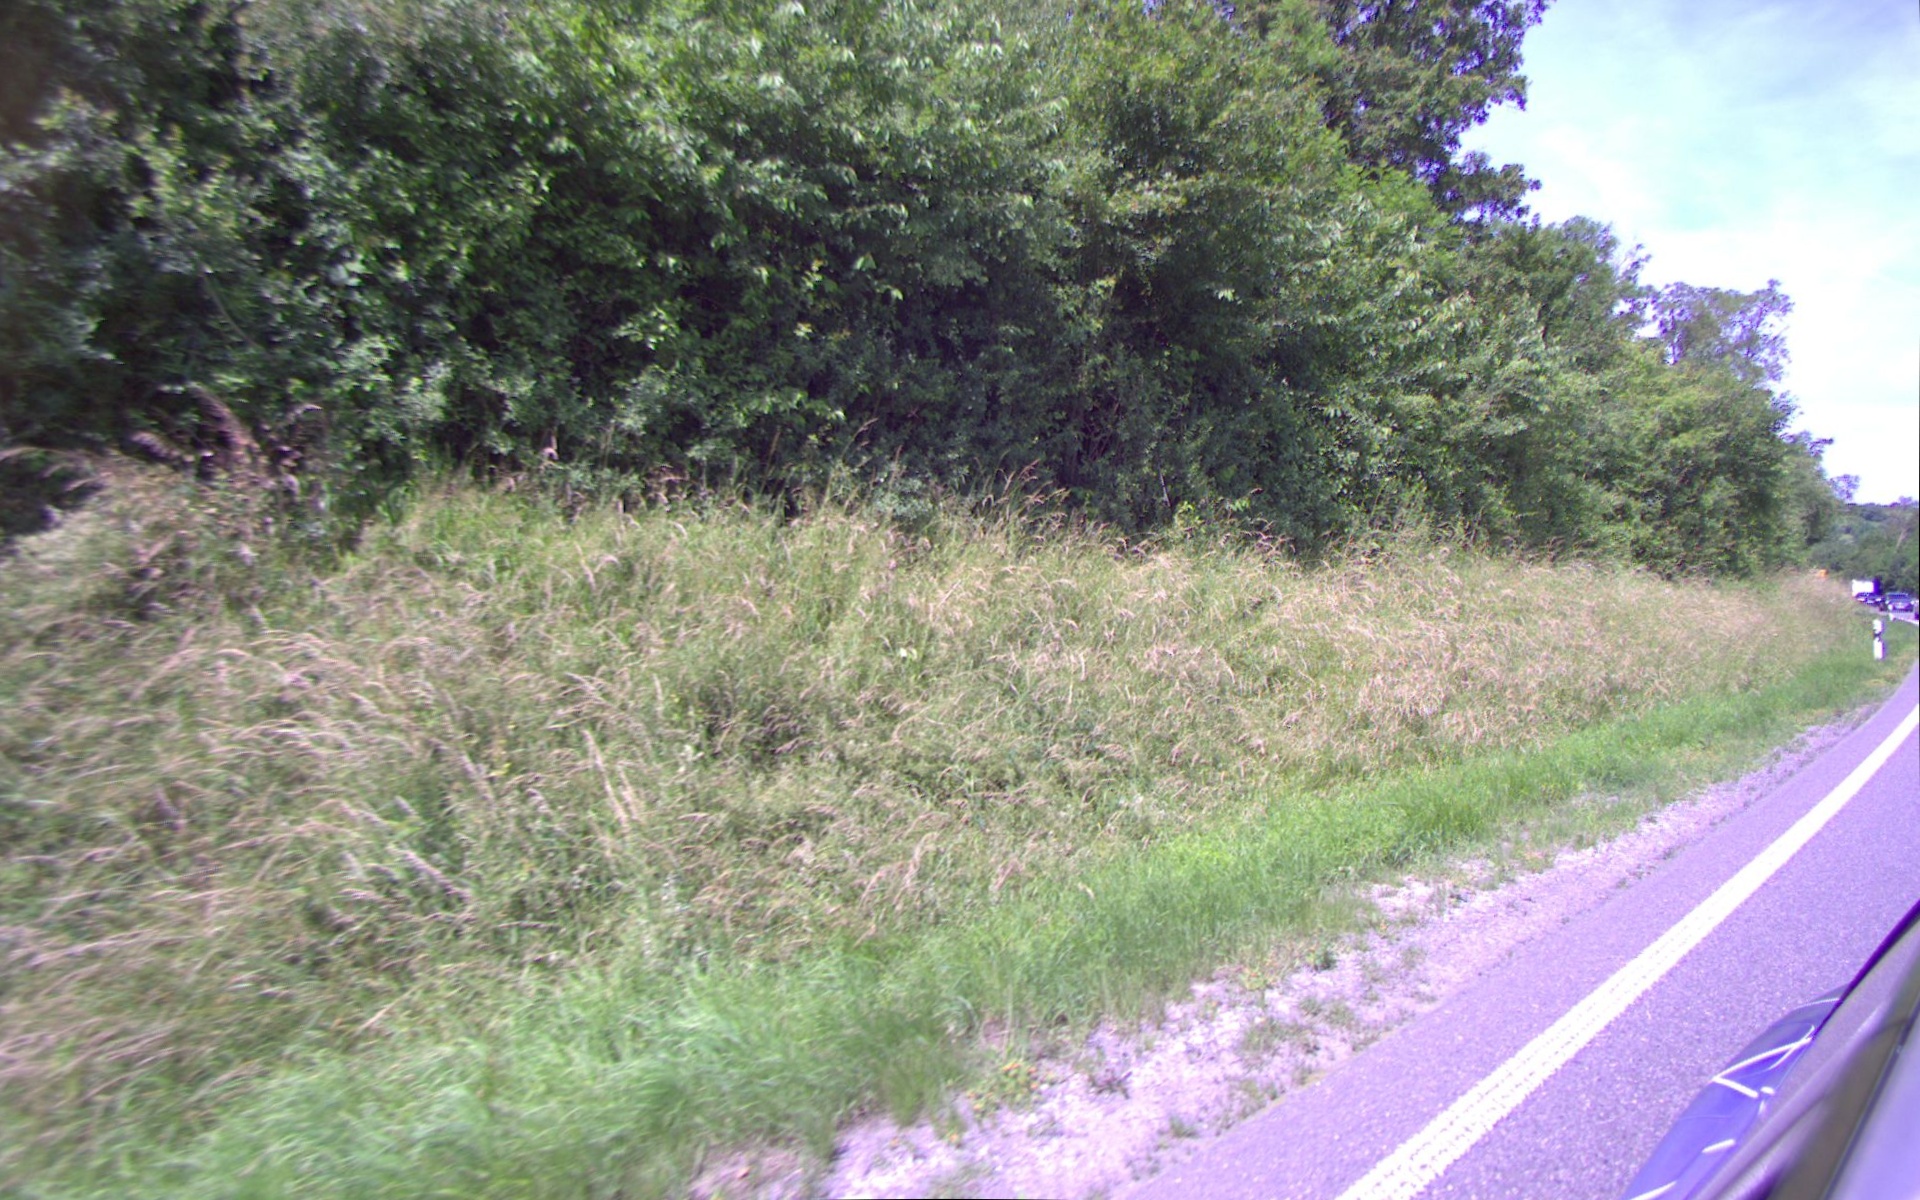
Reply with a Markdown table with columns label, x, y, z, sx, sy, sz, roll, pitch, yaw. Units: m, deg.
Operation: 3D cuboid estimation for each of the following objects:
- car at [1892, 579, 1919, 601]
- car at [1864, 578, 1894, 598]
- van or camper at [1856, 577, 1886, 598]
| label | x | y | z | sx | sy | sz | roll | pitch | yaw |
| --- | --- | --- | --- | --- | --- | --- | --- | --- | --- |
| car | 74.132 | -0.790 | 78.839 | 1.817 | 1.537 | 3.946 | 7 | 5 | 37 |
| car | 86.192 | -1.181 | 94.944 | 1.659 | 1.669 | 3.946 | 7 | 5 | 37 |
| van or camper | 116.180 | -1.581 | 129.064 | 2.202 | 2.559 | 6.054 | 1 | 2 | 36 |
